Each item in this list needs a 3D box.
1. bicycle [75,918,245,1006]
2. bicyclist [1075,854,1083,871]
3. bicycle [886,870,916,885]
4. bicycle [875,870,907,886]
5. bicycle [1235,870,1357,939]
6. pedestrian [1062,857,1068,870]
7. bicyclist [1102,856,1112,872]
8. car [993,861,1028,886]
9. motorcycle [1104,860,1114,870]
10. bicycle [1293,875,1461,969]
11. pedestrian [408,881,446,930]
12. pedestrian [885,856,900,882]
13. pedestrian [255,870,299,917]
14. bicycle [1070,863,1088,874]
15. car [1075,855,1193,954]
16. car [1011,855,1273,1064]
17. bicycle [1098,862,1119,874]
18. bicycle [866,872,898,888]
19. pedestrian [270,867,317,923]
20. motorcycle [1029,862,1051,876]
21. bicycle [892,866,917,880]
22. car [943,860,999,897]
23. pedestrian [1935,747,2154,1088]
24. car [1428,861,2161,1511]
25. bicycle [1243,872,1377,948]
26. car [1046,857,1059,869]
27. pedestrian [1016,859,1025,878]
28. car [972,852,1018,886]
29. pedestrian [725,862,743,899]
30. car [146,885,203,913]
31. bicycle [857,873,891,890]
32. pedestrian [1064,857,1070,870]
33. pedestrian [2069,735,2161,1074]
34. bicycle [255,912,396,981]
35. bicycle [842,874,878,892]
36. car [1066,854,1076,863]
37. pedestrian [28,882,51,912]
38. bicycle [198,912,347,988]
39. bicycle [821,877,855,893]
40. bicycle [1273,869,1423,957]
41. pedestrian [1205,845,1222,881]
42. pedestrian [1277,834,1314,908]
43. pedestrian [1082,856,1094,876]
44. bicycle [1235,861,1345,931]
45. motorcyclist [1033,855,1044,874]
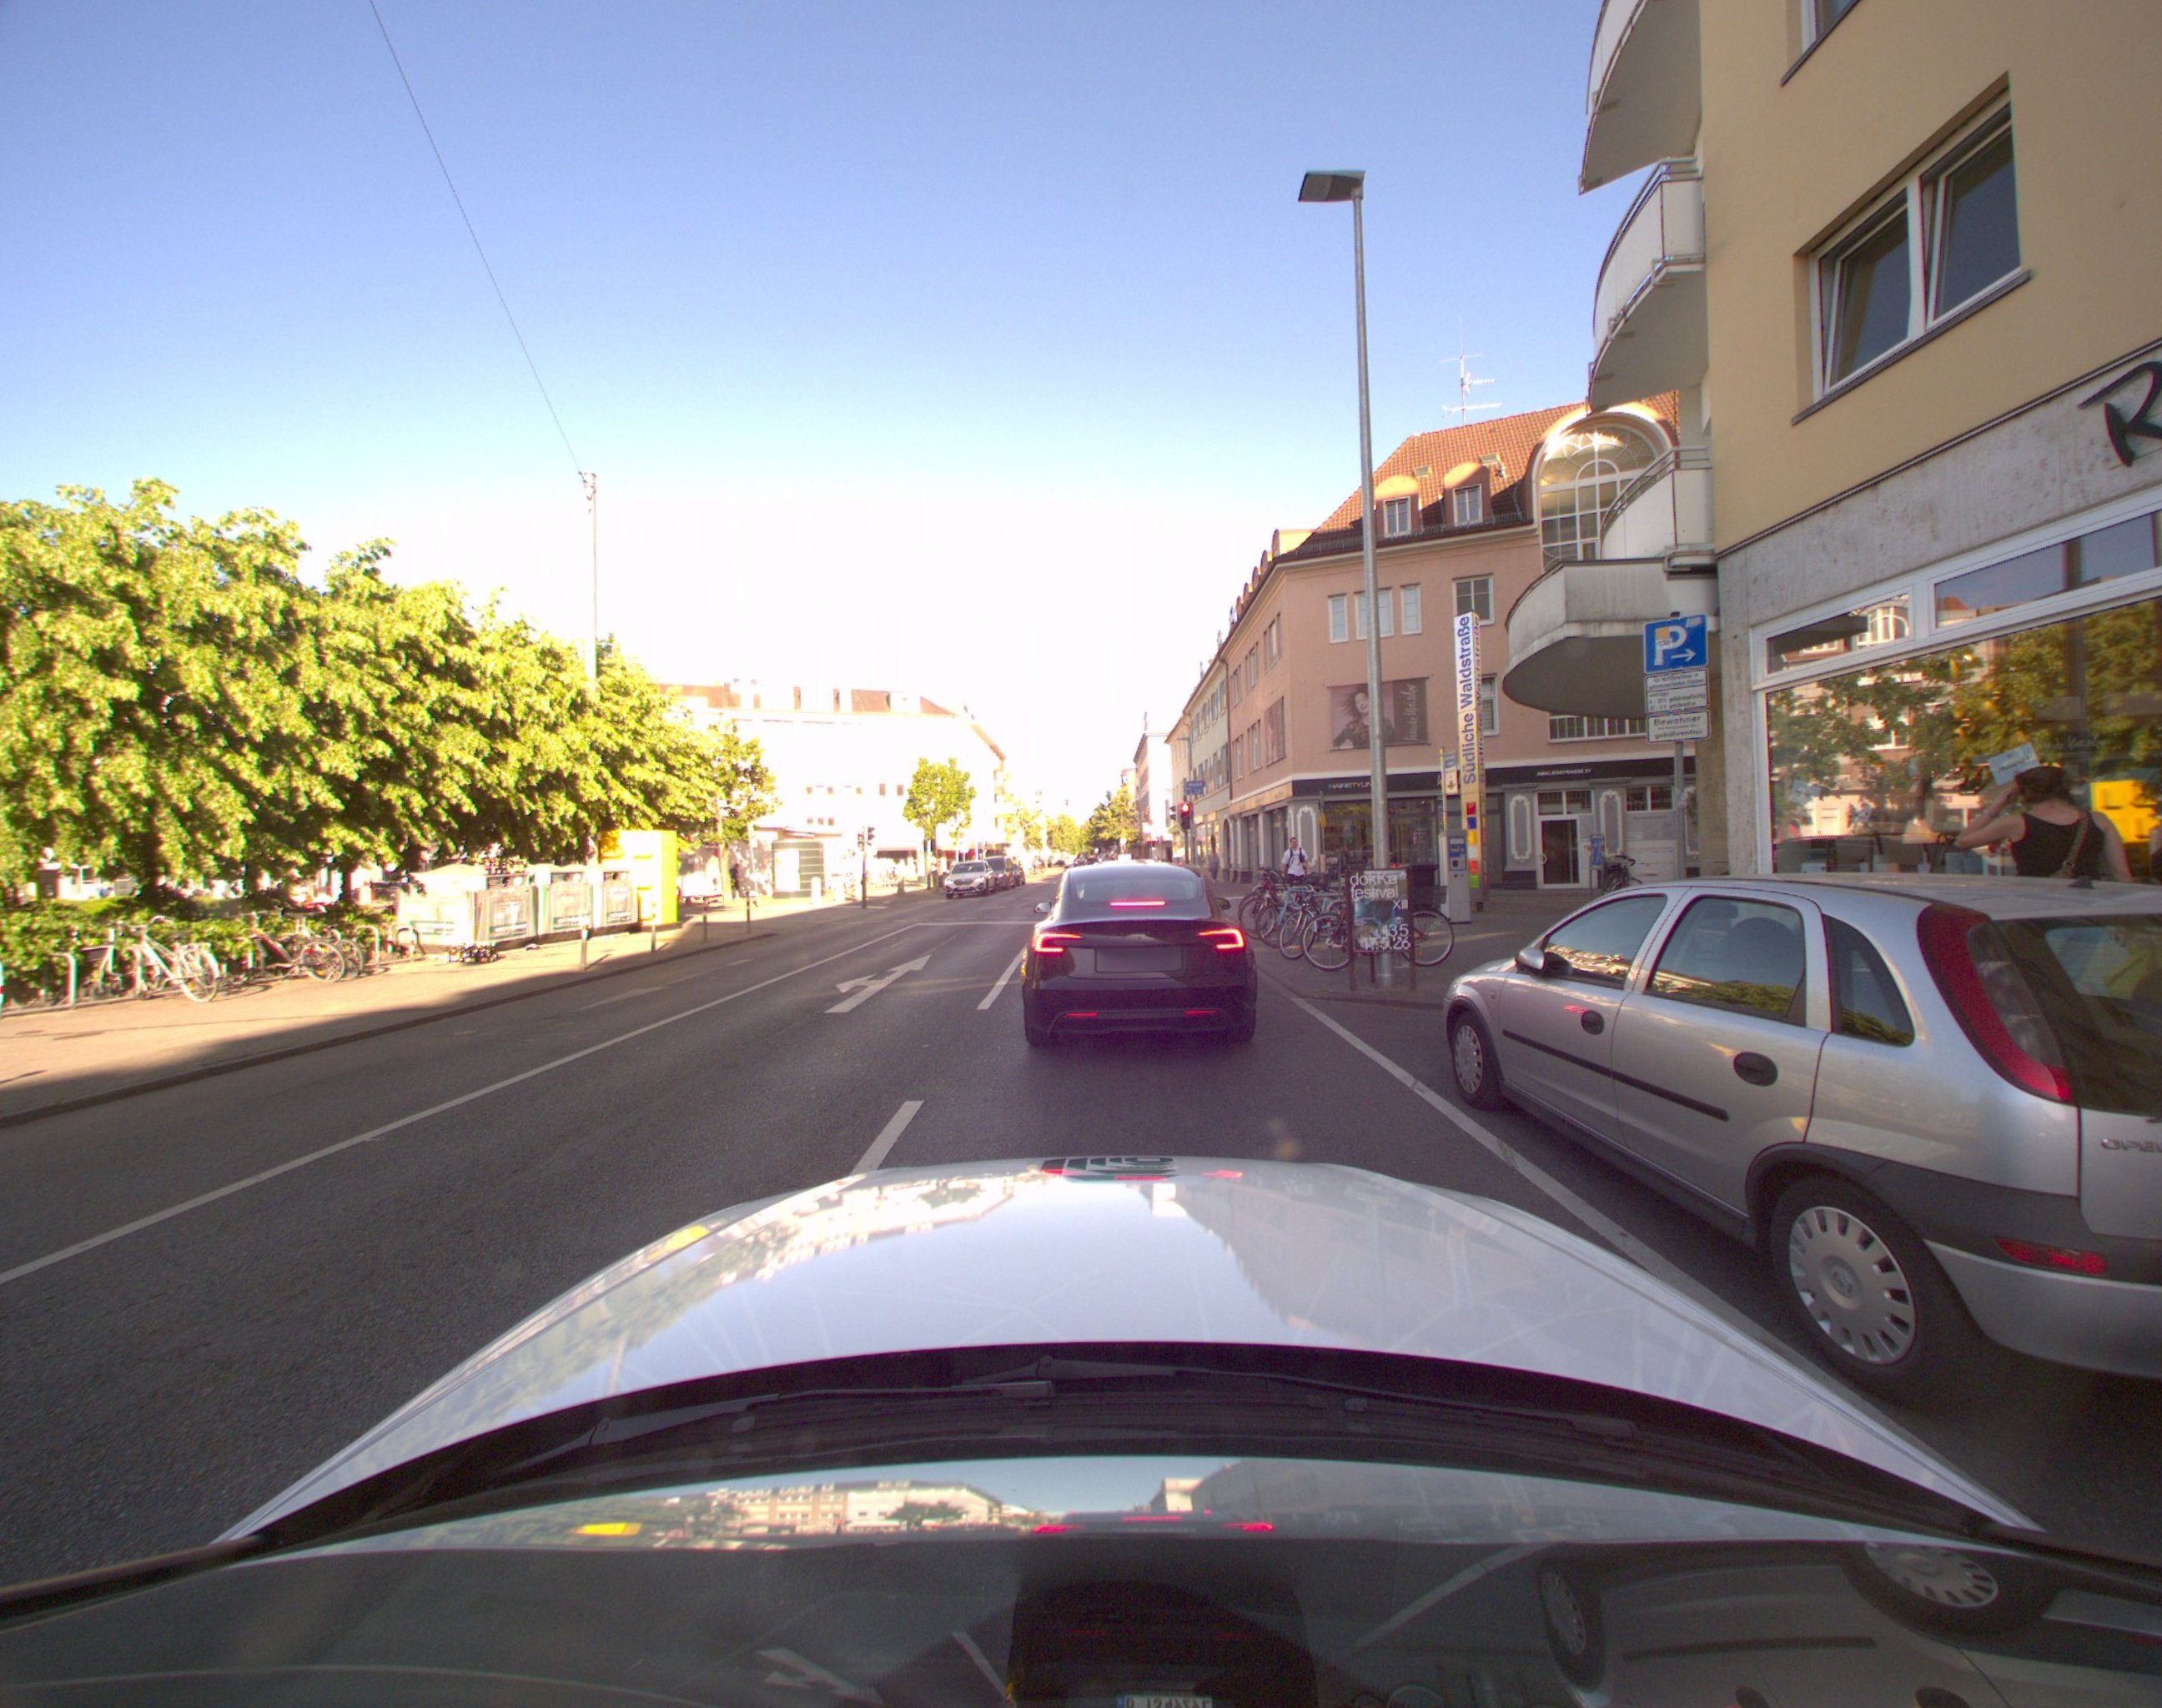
[{"bbox_3d":[-11.624,1.338,10.285,1.919,1.015,0.518,-1,-1,12],"label":"bicycle"},{"bbox_3d":[-0.199,0.751,71.060,0.525,1.503,0.473,0,-1,-22],"label":"bicyclist"},{"bbox_3d":[-12.187,1.575,55.098,1.857,0.934,0.606,-1,0,0],"label":"bicycle"},{"bbox_3d":[-12.267,1.556,52.650,1.857,0.934,0.606,-1,0,0],"label":"bicycle"},{"bbox_3d":[3.580,0.837,13.679,1.863,1.038,0.548,-3,-1,7],"label":"bicycle"},{"bbox_3d":[-1.778,1.095,92.702,0.524,1.422,0.475,0,-1,-28],"label":"pedestrian"},{"bbox_3d":[2.220,0.841,69.581,0.670,1.395,0.460,0,-1,-14],"label":"bicyclist"},{"bbox_3d":[-4.297,1.168,50.271,1.709,1.446,3.846,0,-1,2],"label":"car"},{"bbox_3d":[3.011,1.154,87.749,0.985,1.086,0.352,-1,-1,-35],"label":"motorcycle"},{"bbox_3d":[3.614,0.835,10.034,1.862,1.038,0.354,-3,-1,8],"label":"bicycle"},{"bbox_3d":[-23.149,1.805,28.824,0.754,1.698,0.793,-1,0,25],"label":"pedestrian"},{"bbox_3d":[-14.883,1.157,64.214,1.060,2.014,1.049,0,-1,-18],"label":"pedestrian"},{"bbox_3d":[-35.347,1.725,35.816,1.145,2.014,1.040,-1,0,26],"label":"pedestrian"},{"bbox_3d":[-0.166,1.266,71.058,1.562,1.012,0.480,0,-1,-22],"label":"bicycle"},{"bbox_3d":[0.794,0.746,13.918,1.712,1.425,3.757,-1,0,0],"label":"car"},{"bbox_3d":[0.491,0.759,7.743,1.815,1.442,4.001,-1,-1,2],"label":"car"},{"bbox_3d":[2.336,1.177,69.604,1.787,1.007,0.469,0,-1,-15],"label":"bicycle"},{"bbox_3d":[-12.279,1.591,50.286,1.857,0.934,0.606,0,-1,0],"label":"bicycle"},{"bbox_3d":[-29.378,1.510,30.378,0.890,2.013,0.893,-1,0,15],"label":"pedestrian"},{"bbox_3d":[-3.444,1.260,68.481,1.941,1.110,0.513,-1,0,-36],"label":"motorcycle"},{"bbox_3d":[-17.023,1.819,78.624,2.373,1.296,0.509,0,-1,-25],"label":"bicycle"},{"bbox_3d":[-4.877,1.045,36.475,1.782,1.460,3.759,-4,-1,2],"label":"car"},{"bbox_3d":[5.190,0.311,4.440,0.651,1.665,0.651,-2,-1,42],"label":"pedestrian"},{"bbox_3d":[2.950,0.745,3.514,1.540,1.390,3.479,-1,-1,3],"label":"car"},{"bbox_3d":[3.492,0.848,12.510,1.864,1.038,0.534,-3,-1,5],"label":"bicycle"},{"bbox_3d":[-4.127,1.287,116.063,1.703,1.552,3.692,-1,0,-4],"label":"car"},{"bbox_3d":[-4.735,1.144,63.989,0.623,1.538,0.511,0,-1,-17],"label":"pedestrian"},{"bbox_3d":[-4.456,0.747,42.779,1.780,1.646,4.404,-1,0,2],"label":"car"},{"bbox_3d":[-16.440,1.242,38.541,0.472,1.716,0.713,-1,-1,9],"label":"pedestrian"},{"bbox_3d":[-49.435,2.424,44.387,3.526,1.386,1.703,-1,0,36],"label":"car"},{"bbox_3d":[-12.155,1.614,47.807,1.857,0.934,0.606,0,-1,0],"label":"bicycle"},{"bbox_3d":[-1.621,1.086,91.826,0.524,1.422,0.475,0,-1,-28],"label":"pedestrian"},{"bbox_3d":[6.045,0.260,4.378,0.738,1.784,0.568,-1,0,1],"label":"pedestrian"},{"bbox_3d":[-11.322,1.370,12.209,1.888,0.955,0.518,-1,-1,11],"label":"bicycle"},{"bbox_3d":[-12.391,1.620,45.656,1.857,0.934,0.606,-1,-1,0],"label":"bicycle"},{"bbox_3d":[-2.290,1.132,187.587,1.986,2.013,4.002,-1,0,2],"label":"car"},{"bbox_3d":[-77.665,3.167,60.722,0.891,2.171,0.882,-1,-1,26],"label":"pedestrian"},{"bbox_3d":[-11.534,1.351,11.625,1.913,1.003,0.518,-1,-1,11],"label":"bicycle"},{"bbox_3d":[-12.839,1.632,43.087,1.640,0.792,0.606,0,-1,-3],"label":"bicycle"},{"bbox_3d":[3.651,0.803,11.207,1.864,1.087,0.415,-3,-1,5],"label":"bicycle"},{"bbox_3d":[6.388,0.426,39.315,0.704,1.742,0.540,-1,0,1],"label":"pedestrian"},{"bbox_3d":[5.216,0.404,19.873,0.747,1.765,0.838,0,-1,6],"label":"pedestrian"},{"bbox_3d":[0.574,0.963,67.393,0.756,1.631,0.951,0,-1,-16],"label":"pedestrian"},{"bbox_3d":[3.776,0.757,14.795,1.818,1.169,0.507,-3,-1,7],"label":"bicycle"},{"bbox_3d":[-3.543,0.898,68.417,0.725,1.528,0.510,-1,-1,-36],"label":"motorcyclist"}]
